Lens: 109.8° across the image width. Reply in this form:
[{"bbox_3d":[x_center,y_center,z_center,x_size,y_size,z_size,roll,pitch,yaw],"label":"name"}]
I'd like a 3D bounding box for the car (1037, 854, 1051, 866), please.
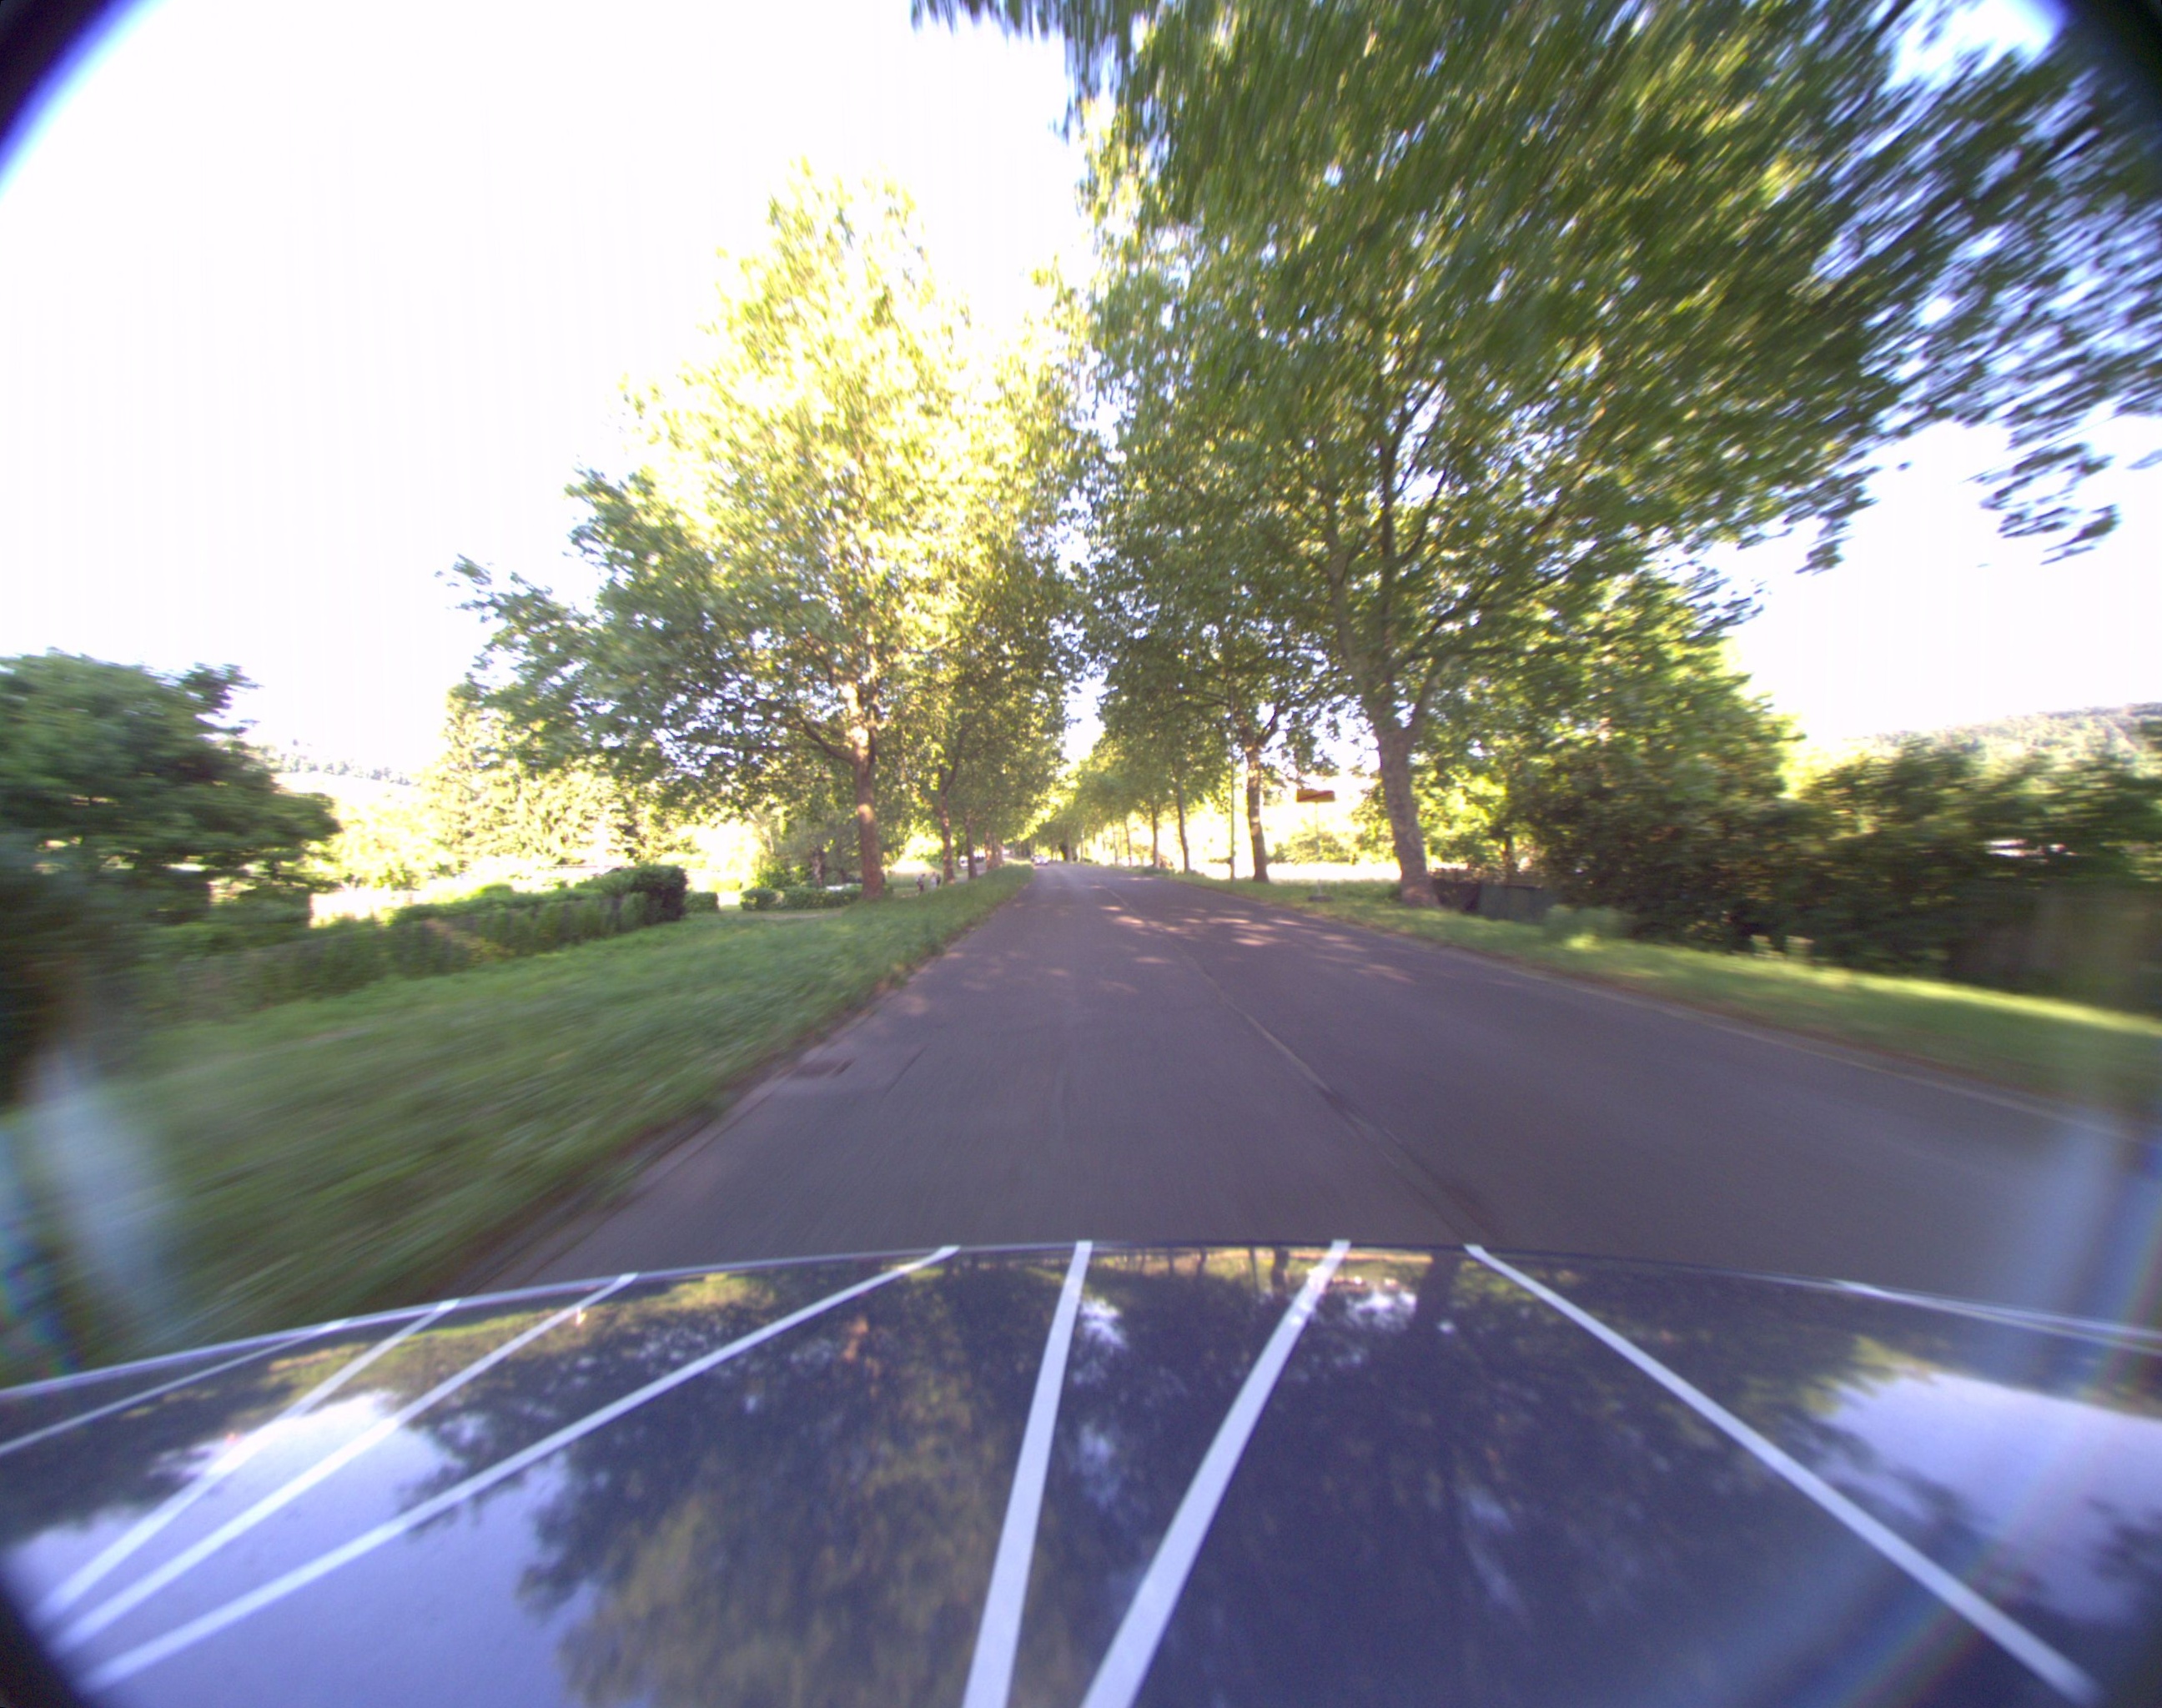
[{"bbox_3d":[-5.446,0.896,112.052,1.999,1.656,3.998,-2,1,-4],"label":"car"}]

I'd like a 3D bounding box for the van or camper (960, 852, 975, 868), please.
[{"bbox_3d":[-20.907,1.024,140.513,2.388,2.784,5.681,-2,1,-7],"label":"van or camper"}]

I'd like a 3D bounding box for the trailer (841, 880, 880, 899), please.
[{"bbox_3d":[-14.334,2.298,49.478,2.122,1.046,1.200,-2,1,2],"label":"trailer"}]

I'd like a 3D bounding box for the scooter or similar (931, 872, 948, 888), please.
[{"bbox_3d":[-11.061,2.032,59.398,0.340,1.128,1.602,-1,1,27],"label":"scooter or similar"}]

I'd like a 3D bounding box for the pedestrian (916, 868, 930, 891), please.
[{"bbox_3d":[-11.598,1.875,55.785,0.845,1.567,0.783,-3,2,-20],"label":"pedestrian"}]

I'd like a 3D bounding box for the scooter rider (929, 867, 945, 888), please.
[{"bbox_3d":[-11.179,1.802,59.057,0.783,1.567,0.846,-1,2,28],"label":"scooter rider"}]
